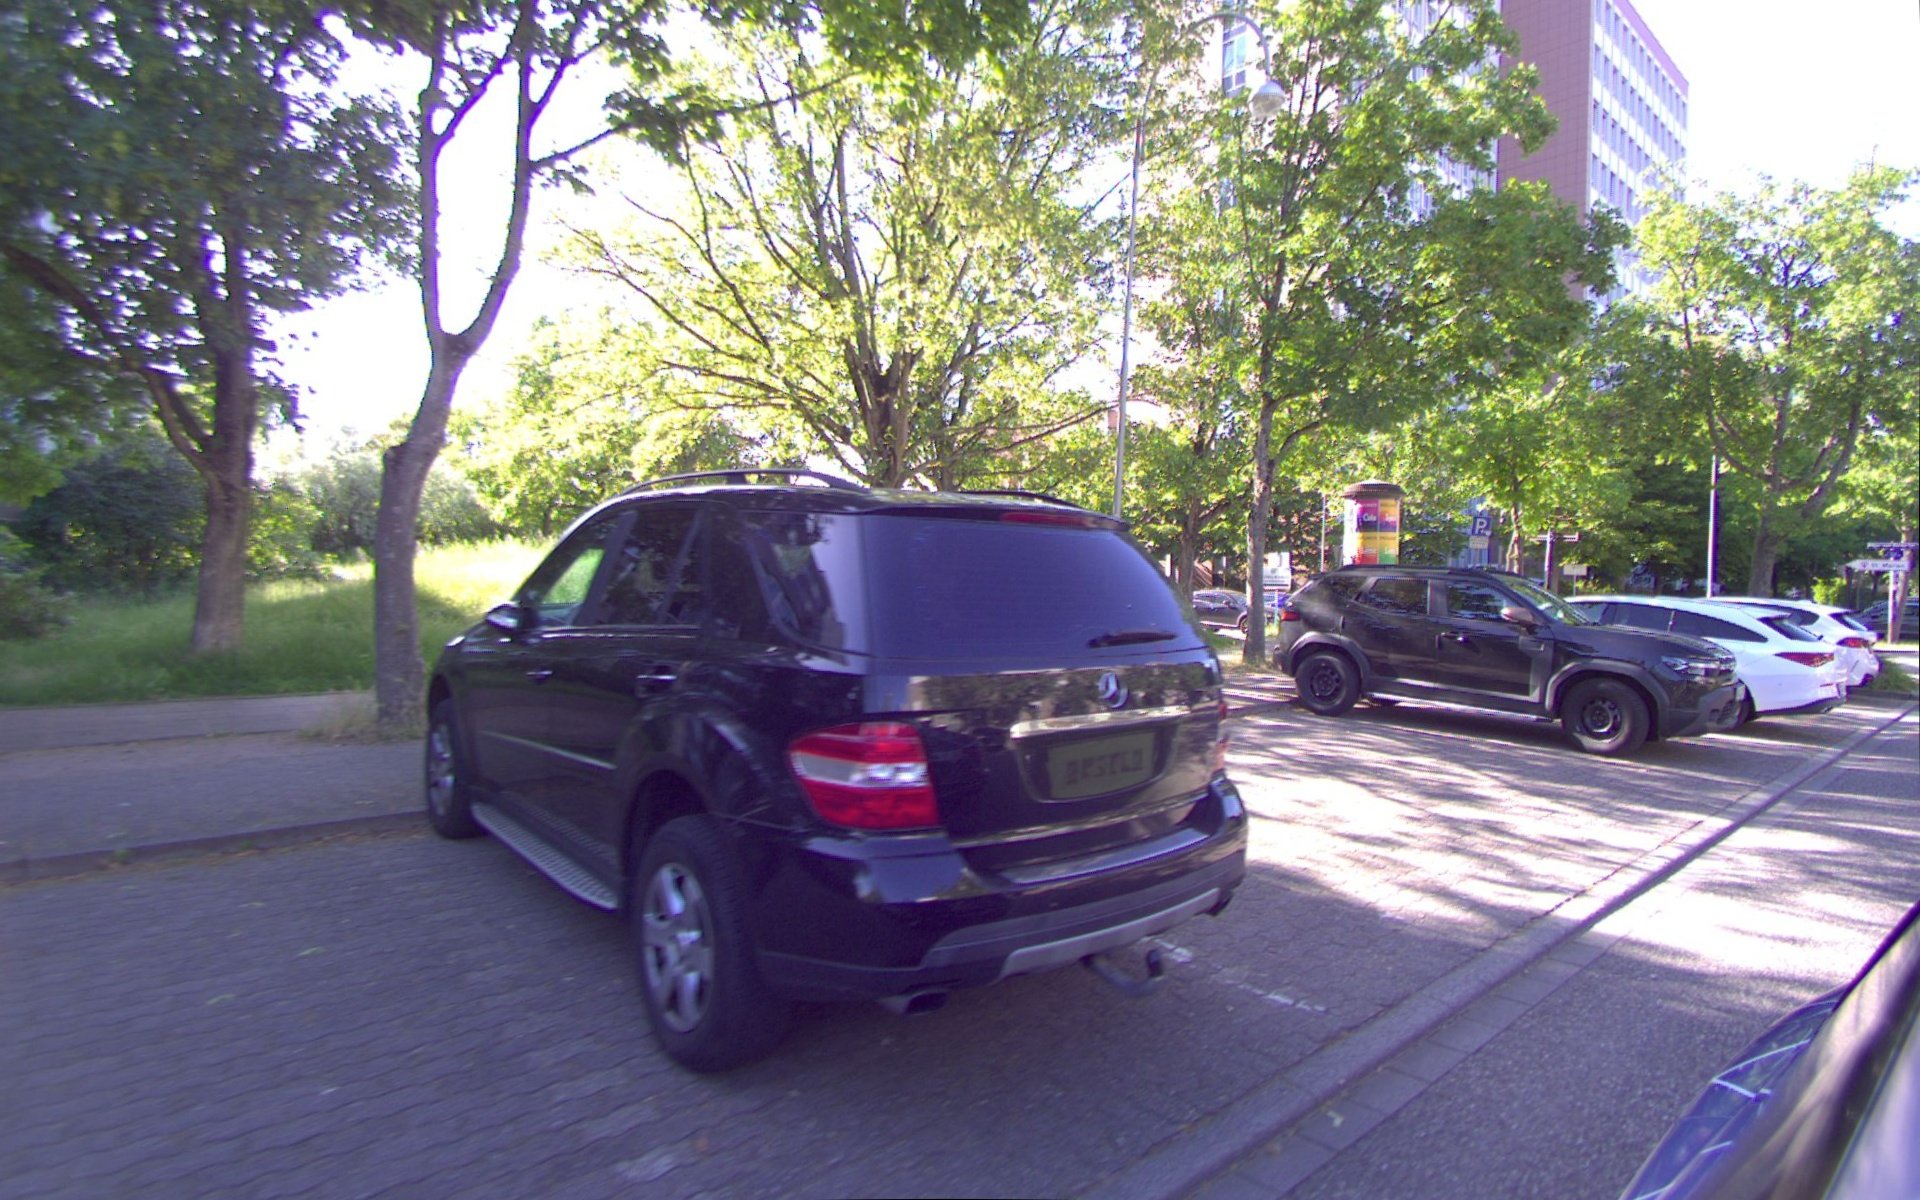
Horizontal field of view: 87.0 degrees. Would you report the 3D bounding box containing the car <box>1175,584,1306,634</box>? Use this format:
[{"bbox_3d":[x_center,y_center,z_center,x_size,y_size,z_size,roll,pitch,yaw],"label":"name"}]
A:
[{"bbox_3d":[9.578,0.274,34.762,1.803,1.549,3.992,0,1,-42],"label":"car"}]

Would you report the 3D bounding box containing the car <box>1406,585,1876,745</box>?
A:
[{"bbox_3d":[8.015,0.610,12.276,1.786,1.564,4.449,0,1,-42],"label":"car"}]

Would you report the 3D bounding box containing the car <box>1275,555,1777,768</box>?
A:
[{"bbox_3d":[5.545,0.418,10.345,1.705,1.637,4.124,-1,4,-43],"label":"car"}]

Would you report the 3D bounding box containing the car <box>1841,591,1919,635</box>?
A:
[{"bbox_3d":[35.246,0.554,37.423,1.565,1.464,3.840,2,3,-44],"label":"car"}]

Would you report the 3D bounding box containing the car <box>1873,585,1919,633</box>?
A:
[{"bbox_3d":[37.610,0.381,38.757,1.693,1.772,3.682,0,3,-39],"label":"car"}]

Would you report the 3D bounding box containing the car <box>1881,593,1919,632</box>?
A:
[{"bbox_3d":[40.693,0.576,41.760,3.872,1.584,1.781,4,3,44],"label":"car"}]

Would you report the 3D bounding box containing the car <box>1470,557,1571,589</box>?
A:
[{"bbox_3d":[31.967,-1.553,57.798,1.845,1.707,4.719,0,1,-45],"label":"car"}]

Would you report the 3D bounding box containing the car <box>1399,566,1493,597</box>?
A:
[{"bbox_3d":[25.929,-1.000,54.116,4.224,1.525,1.697,2,1,43],"label":"car"}]

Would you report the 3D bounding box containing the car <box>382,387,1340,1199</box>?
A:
[{"bbox_3d":[-0.973,0.318,4.537,1.965,1.800,4.597,0,3,-41],"label":"car"}]

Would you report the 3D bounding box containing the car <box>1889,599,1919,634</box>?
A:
[{"bbox_3d":[45.965,0.819,46.671,1.828,1.572,4.427,0,2,-42],"label":"car"}]

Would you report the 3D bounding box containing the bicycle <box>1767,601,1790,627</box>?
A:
[{"bbox_3d":[33.021,0.542,40.834,1.921,1.006,0.303,0,1,-38],"label":"bicycle"}]

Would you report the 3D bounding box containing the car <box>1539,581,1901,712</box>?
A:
[{"bbox_3d":[12.231,0.625,16.520,1.806,1.612,4.433,0,4,-44],"label":"car"}]

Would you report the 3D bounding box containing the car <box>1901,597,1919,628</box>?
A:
[{"bbox_3d":[50.572,0.685,51.449,1.656,1.569,3.974,0,1,-45],"label":"car"}]
